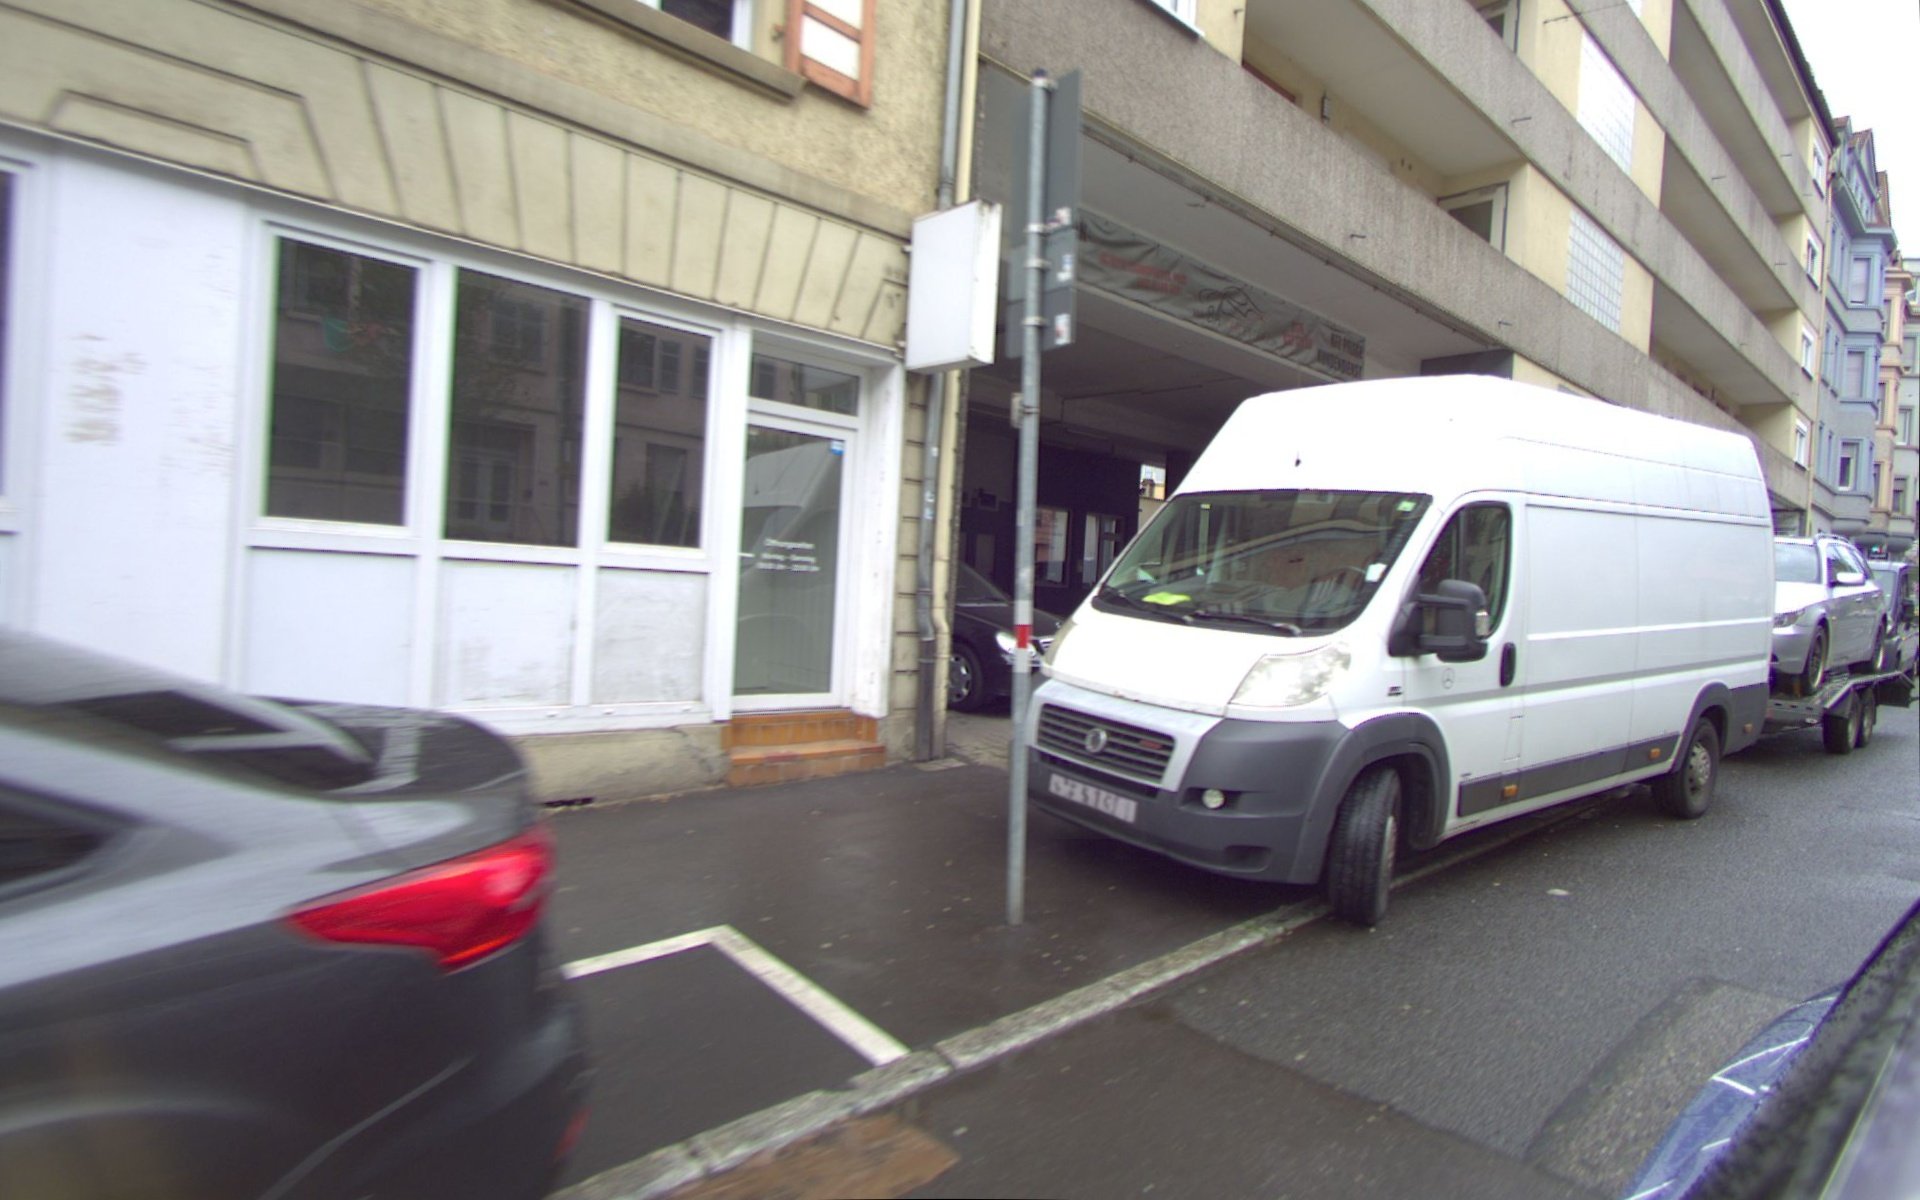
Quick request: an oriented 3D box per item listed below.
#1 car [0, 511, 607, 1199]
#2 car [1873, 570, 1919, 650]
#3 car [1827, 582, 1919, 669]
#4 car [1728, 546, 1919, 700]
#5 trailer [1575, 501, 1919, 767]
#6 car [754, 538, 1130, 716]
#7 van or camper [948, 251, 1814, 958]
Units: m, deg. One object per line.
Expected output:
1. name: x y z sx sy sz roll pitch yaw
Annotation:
1. car: -2.677 0.632 0.904 1.779 1.497 4.122 3 3 45
2. car: 26.031 0.246 26.963 4.740 1.979 1.993 -1 4 -42
3. car: 20.214 0.475 21.831 4.201 1.660 1.749 -1 4 -43
4. car: 15.042 0.260 17.221 5.417 2.175 2.157 -1 4 -43
5. trailer: 8.610 0.243 10.658 4.980 2.178 1.999 1 3 -40
6. car: -0.301 0.169 10.658 3.654 1.408 1.868 6 3 44
7. van or camper: 3.156 -0.016 6.646 6.298 2.732 2.192 0 2 -36
